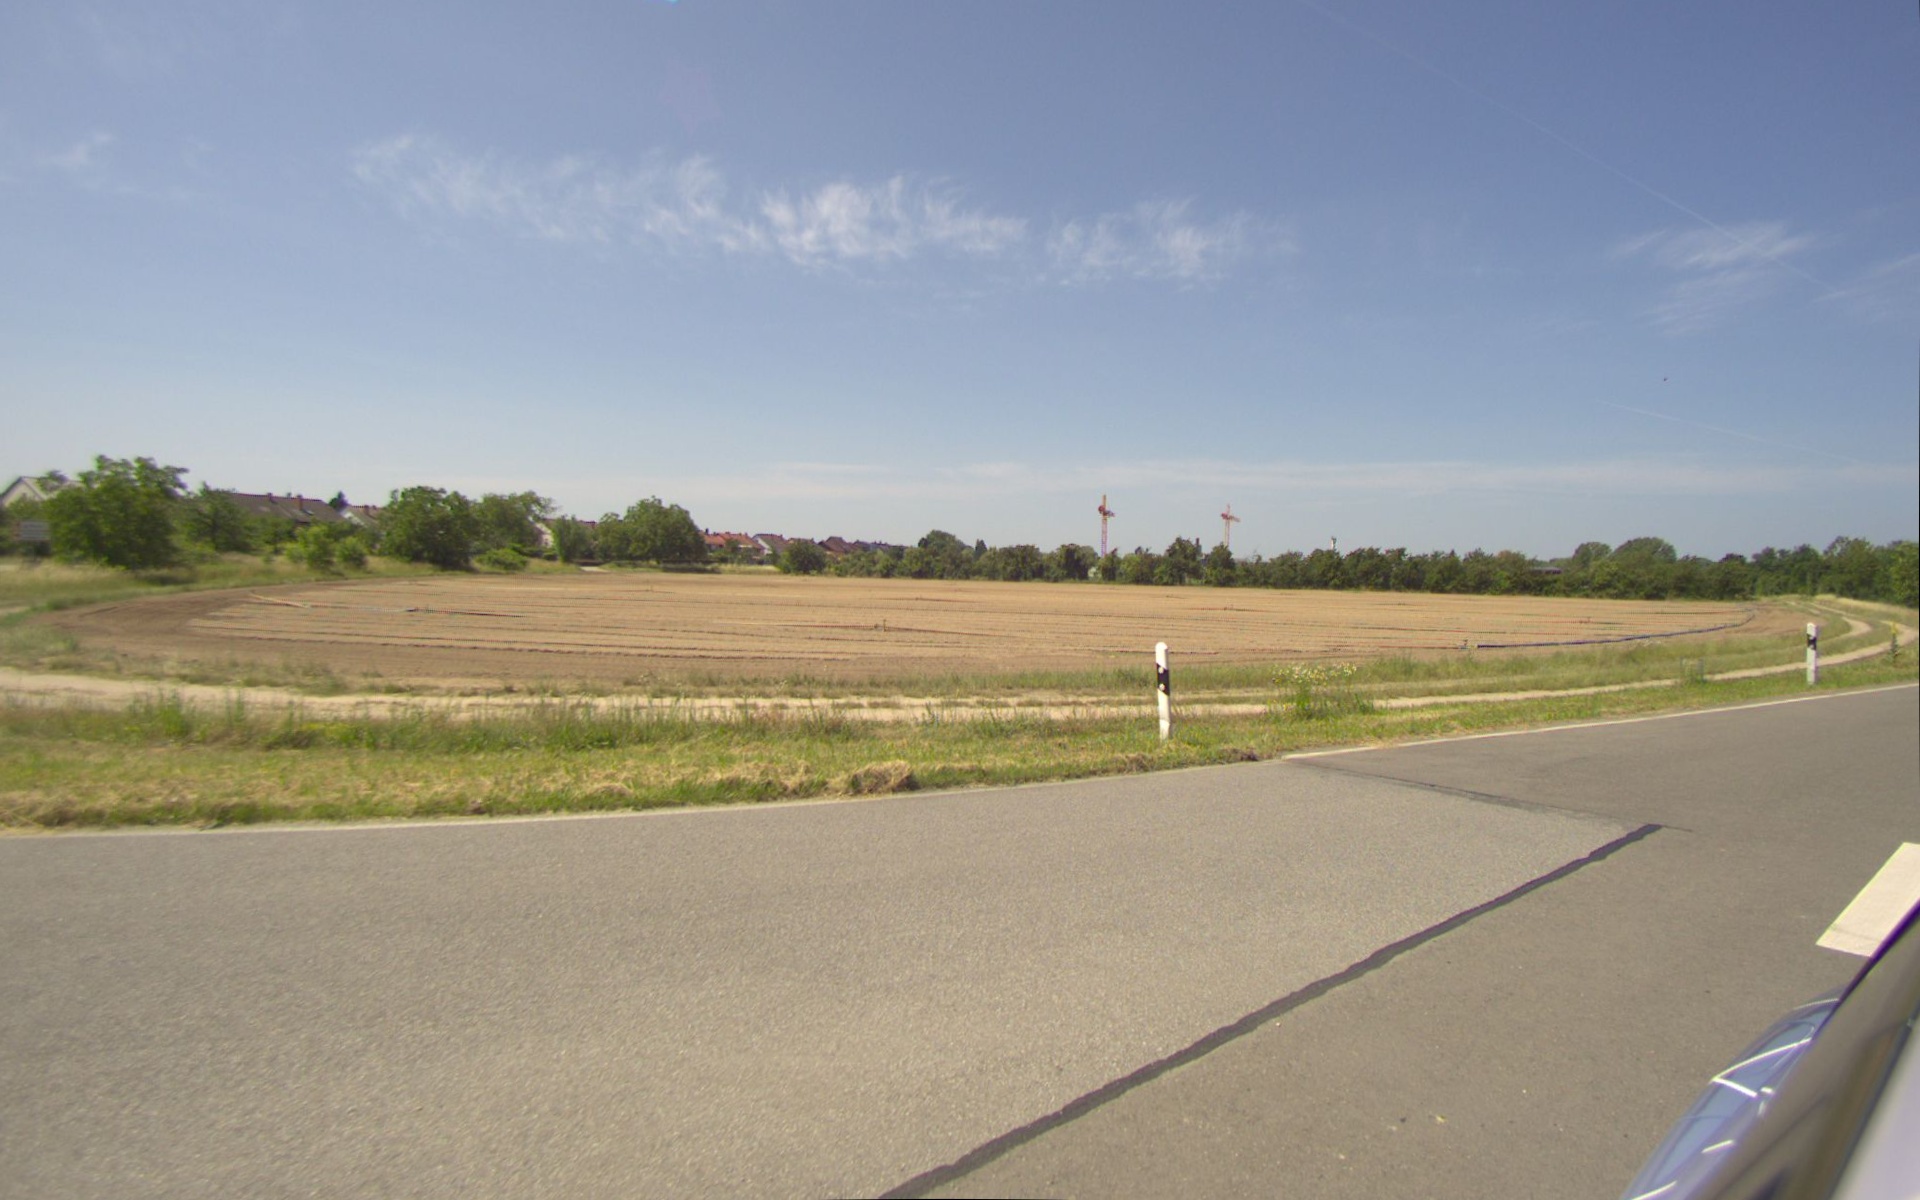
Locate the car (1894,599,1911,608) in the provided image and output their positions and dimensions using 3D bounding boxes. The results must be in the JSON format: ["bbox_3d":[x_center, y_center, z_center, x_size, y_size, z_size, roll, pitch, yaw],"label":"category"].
[{"bbox_3d":[151.816,0.621,162.990,1.689,1.380,3.774,0,1,38],"label":"car"}]
